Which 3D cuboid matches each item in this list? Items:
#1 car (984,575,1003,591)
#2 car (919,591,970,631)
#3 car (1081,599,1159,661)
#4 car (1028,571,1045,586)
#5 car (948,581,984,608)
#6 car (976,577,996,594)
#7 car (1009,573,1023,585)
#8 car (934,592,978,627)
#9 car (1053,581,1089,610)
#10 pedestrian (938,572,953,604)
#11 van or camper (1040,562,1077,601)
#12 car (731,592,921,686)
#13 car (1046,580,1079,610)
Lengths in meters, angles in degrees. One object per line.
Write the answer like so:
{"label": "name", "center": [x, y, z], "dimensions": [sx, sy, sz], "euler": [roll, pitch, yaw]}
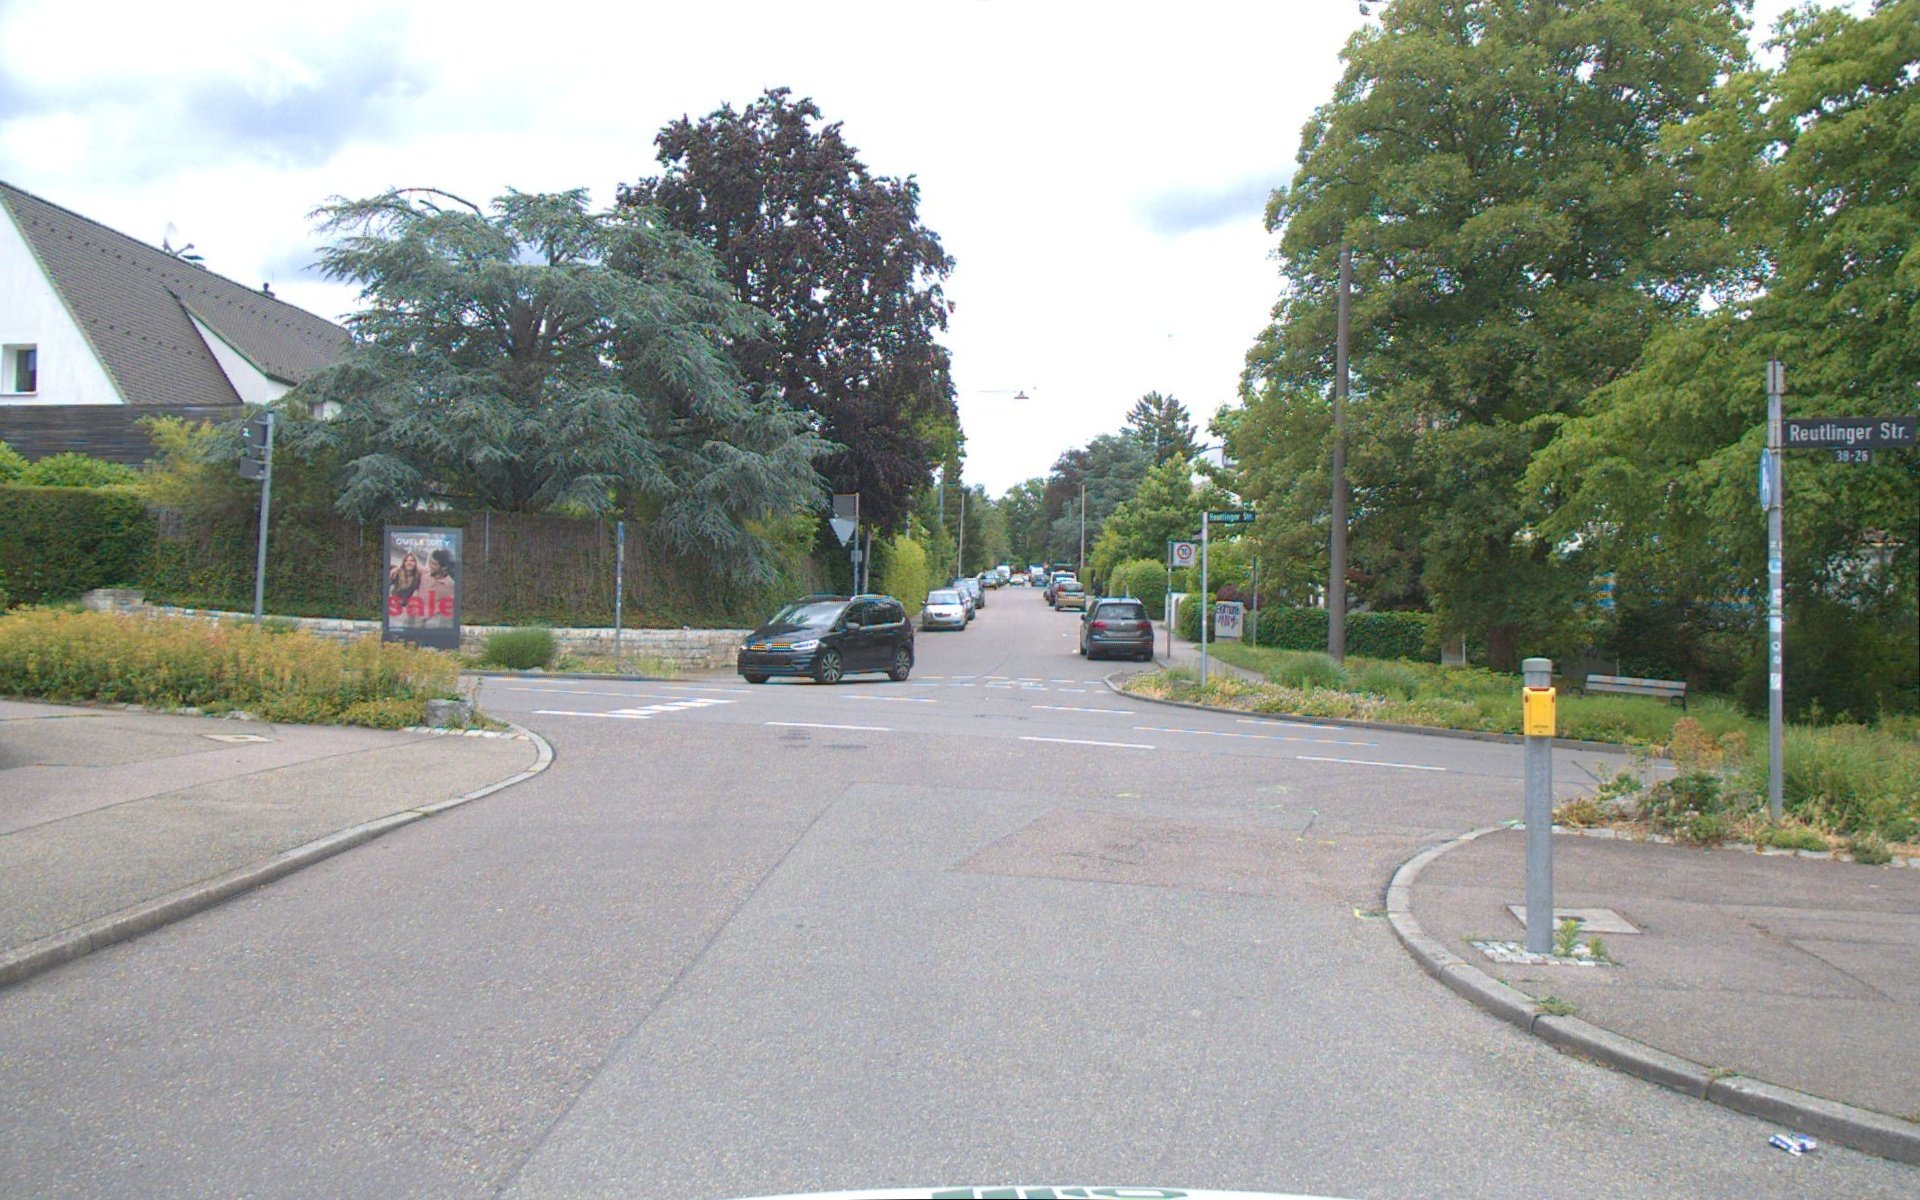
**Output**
{"label": "car", "center": [3.284, -1.656, 161.782], "dimensions": [1.679, 1.488, 3.657], "euler": [3, 0, 2]}
{"label": "car", "center": [-0.566, 0.402, 64.097], "dimensions": [1.906, 1.467, 4.000], "euler": [1, 0, 0]}
{"label": "car", "center": [4.211, 0.757, 44.066], "dimensions": [1.779, 1.563, 4.001], "euler": [0, 0, 1]}
{"label": "car", "center": [8.592, -2.351, 185.333], "dimensions": [1.777, 1.601, 4.001], "euler": [1, 0, 2]}
{"label": "car", "center": [0.333, -0.311, 92.619], "dimensions": [1.906, 1.467, 4.000], "euler": [1, 0, 0]}
{"label": "car", "center": [2.424, -1.329, 152.471], "dimensions": [1.679, 1.488, 3.657], "euler": [3, 0, 2]}
{"label": "car", "center": [6.858, -2.534, 203.165], "dimensions": [1.621, 1.358, 3.782], "euler": [1, 0, 2]}
{"label": "car", "center": [-0.180, 0.416, 74.437], "dimensions": [1.906, 1.467, 4.000], "euler": [1, 0, 0]}
{"label": "car", "center": [5.824, -0.248, 87.294], "dimensions": [1.576, 1.438, 3.472], "euler": [3, 0, -1]}
{"label": "pedestrian", "center": [-0.952, -0.762, 108.835], "dimensions": [0.836, 2.048, 0.872], "euler": [3, 0, -4]}
{"label": "van or camper", "center": [6.445, -1.191, 109.063], "dimensions": [2.069, 2.447, 5.245], "euler": [1, 0, 0]}
{"label": "car", "center": [-2.456, 0.699, 31.509], "dimensions": [1.810, 1.640, 4.309], "euler": [1, 0, 23]}
{"label": "car", "center": [5.991, -0.278, 97.042], "dimensions": [1.711, 1.668, 3.728], "euler": [1, 0, 0]}
